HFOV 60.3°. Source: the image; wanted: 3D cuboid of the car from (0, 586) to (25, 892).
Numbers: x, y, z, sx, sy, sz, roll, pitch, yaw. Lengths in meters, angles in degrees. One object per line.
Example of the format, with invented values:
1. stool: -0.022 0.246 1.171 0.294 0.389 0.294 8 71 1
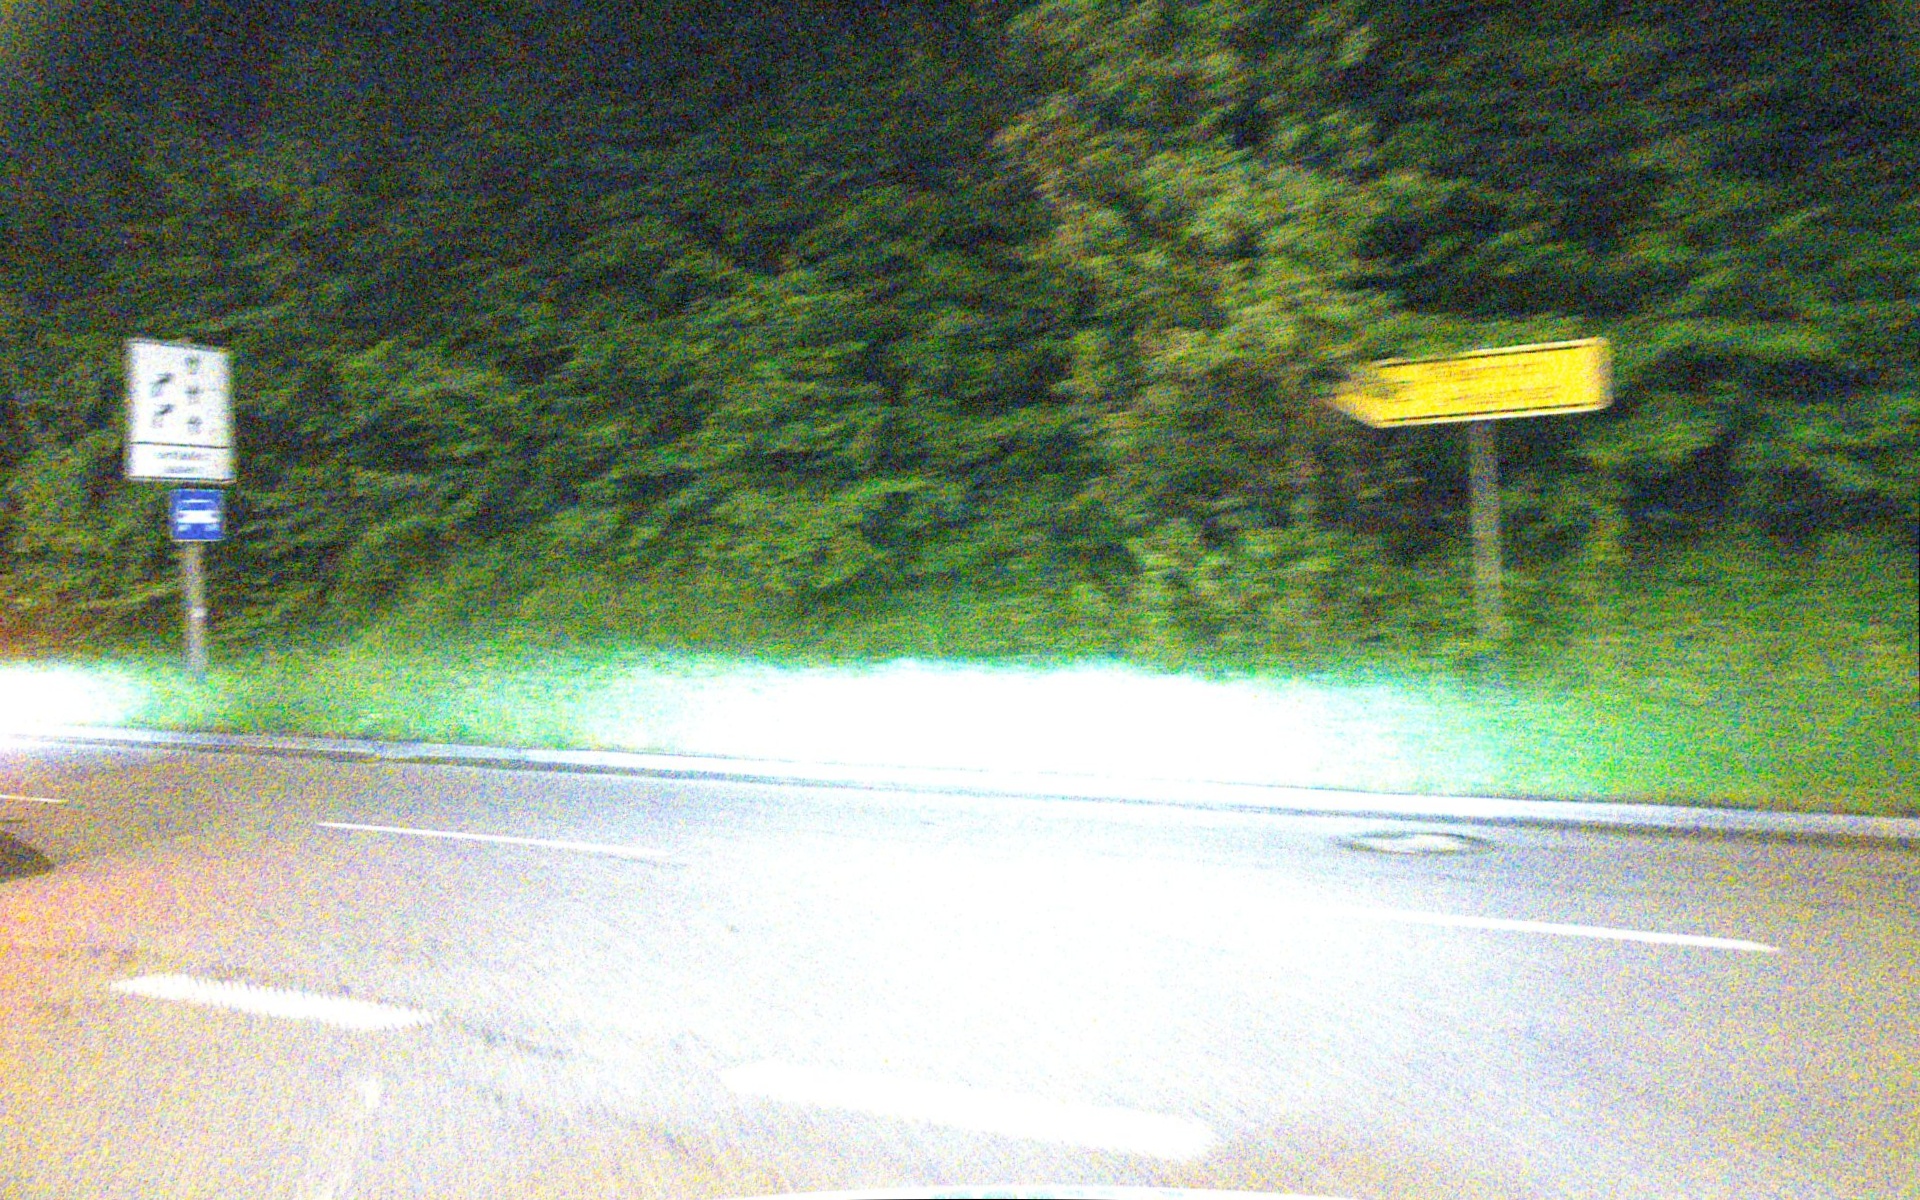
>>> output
1. car: -6.933 0.764 9.689 1.841 1.610 3.948 -1 0 -40
